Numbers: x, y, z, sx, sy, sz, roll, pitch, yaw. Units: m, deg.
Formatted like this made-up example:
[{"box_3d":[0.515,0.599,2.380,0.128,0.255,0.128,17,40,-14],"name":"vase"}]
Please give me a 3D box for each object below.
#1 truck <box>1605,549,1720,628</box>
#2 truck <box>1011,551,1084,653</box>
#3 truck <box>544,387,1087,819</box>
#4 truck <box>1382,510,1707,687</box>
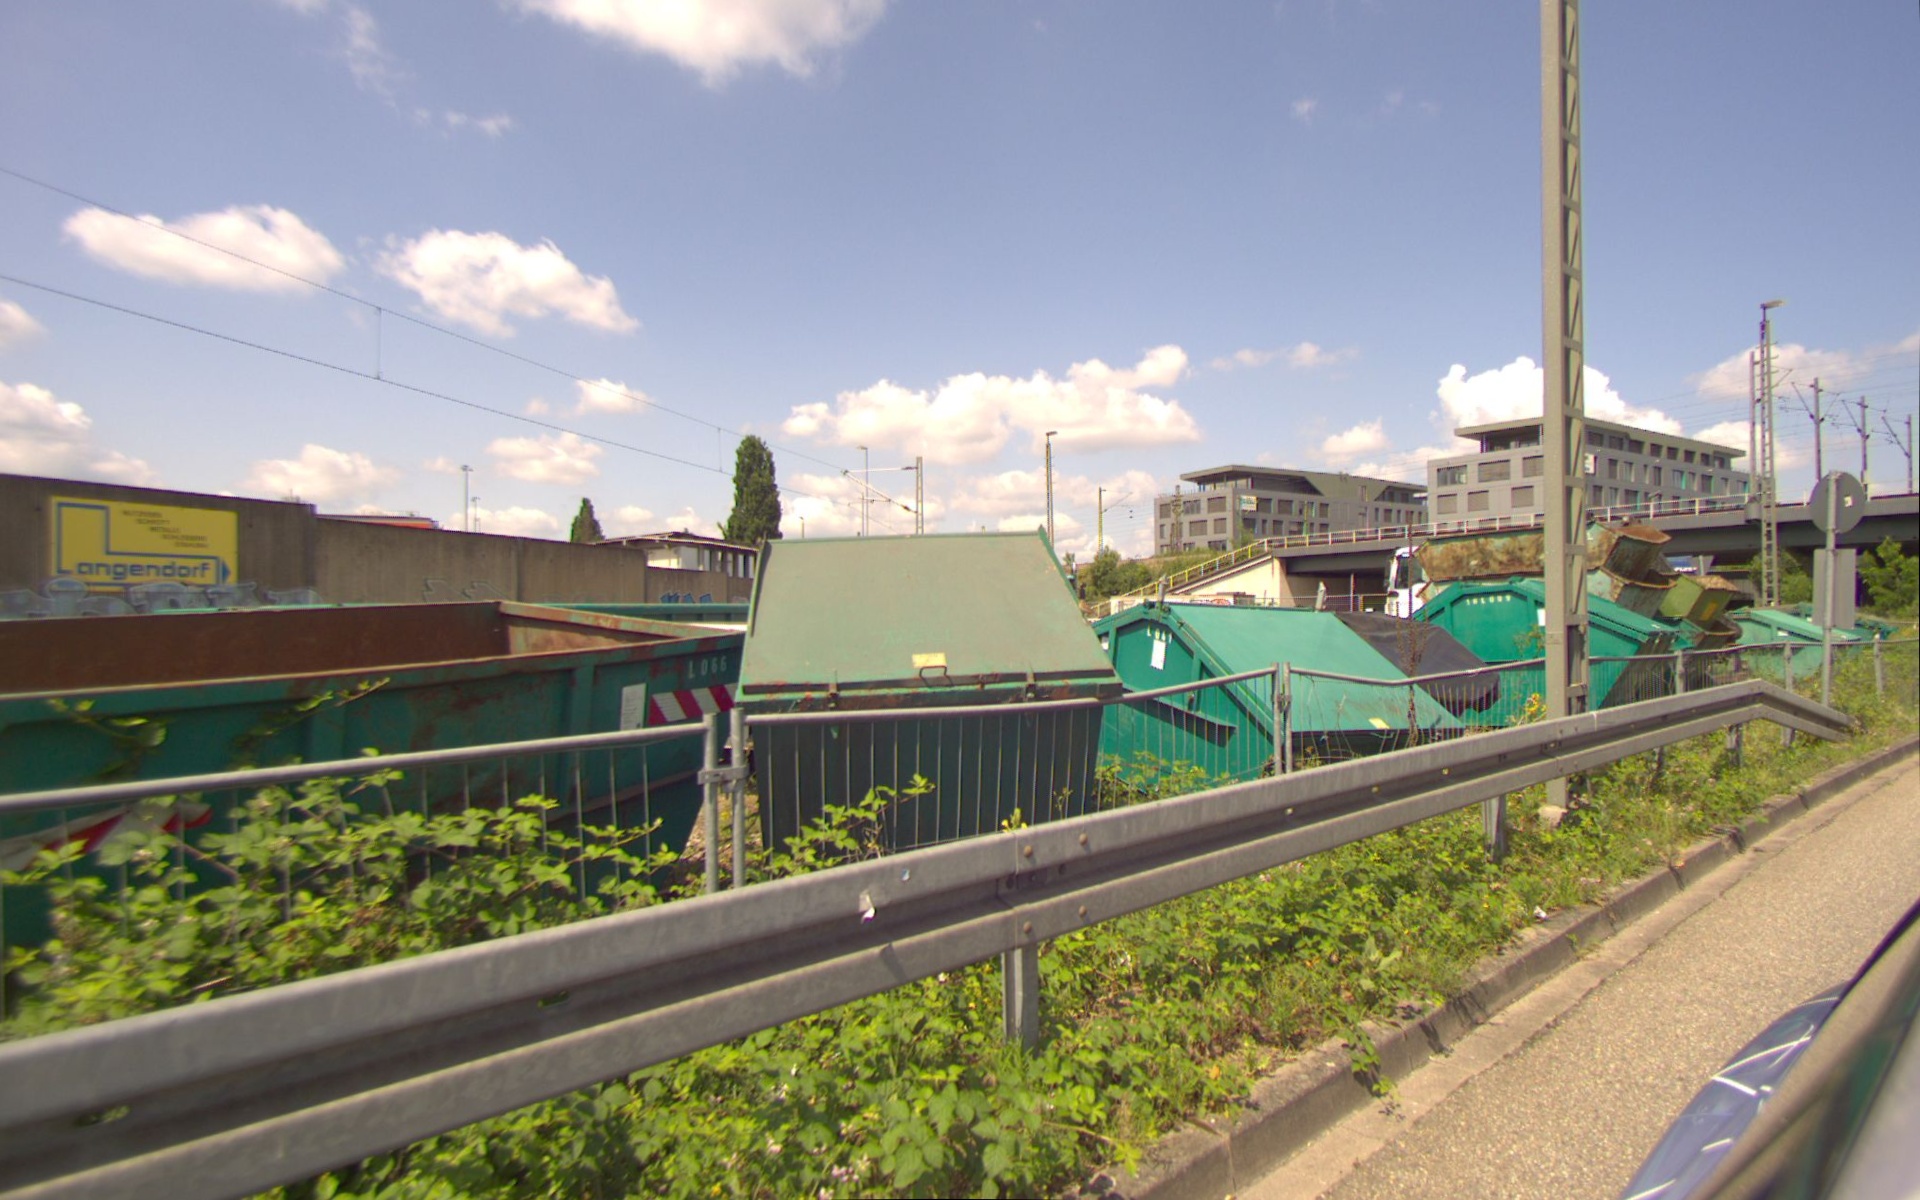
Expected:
[{"box_3d":[32.143,-0.482,46.664,2.730,3.316,8.135,0,0,23],"name":"truck"},{"box_3d":[3.615,0.092,41.207,2.609,3.692,6.876,-2,0,6],"name":"truck"},{"box_3d":[-0.931,0.023,12.424,2.961,3.463,8.052,0,0,22],"name":"truck"},{"box_3d":[11.749,-0.026,20.847,1.961,3.137,5.516,0,0,-33],"name":"truck"}]
